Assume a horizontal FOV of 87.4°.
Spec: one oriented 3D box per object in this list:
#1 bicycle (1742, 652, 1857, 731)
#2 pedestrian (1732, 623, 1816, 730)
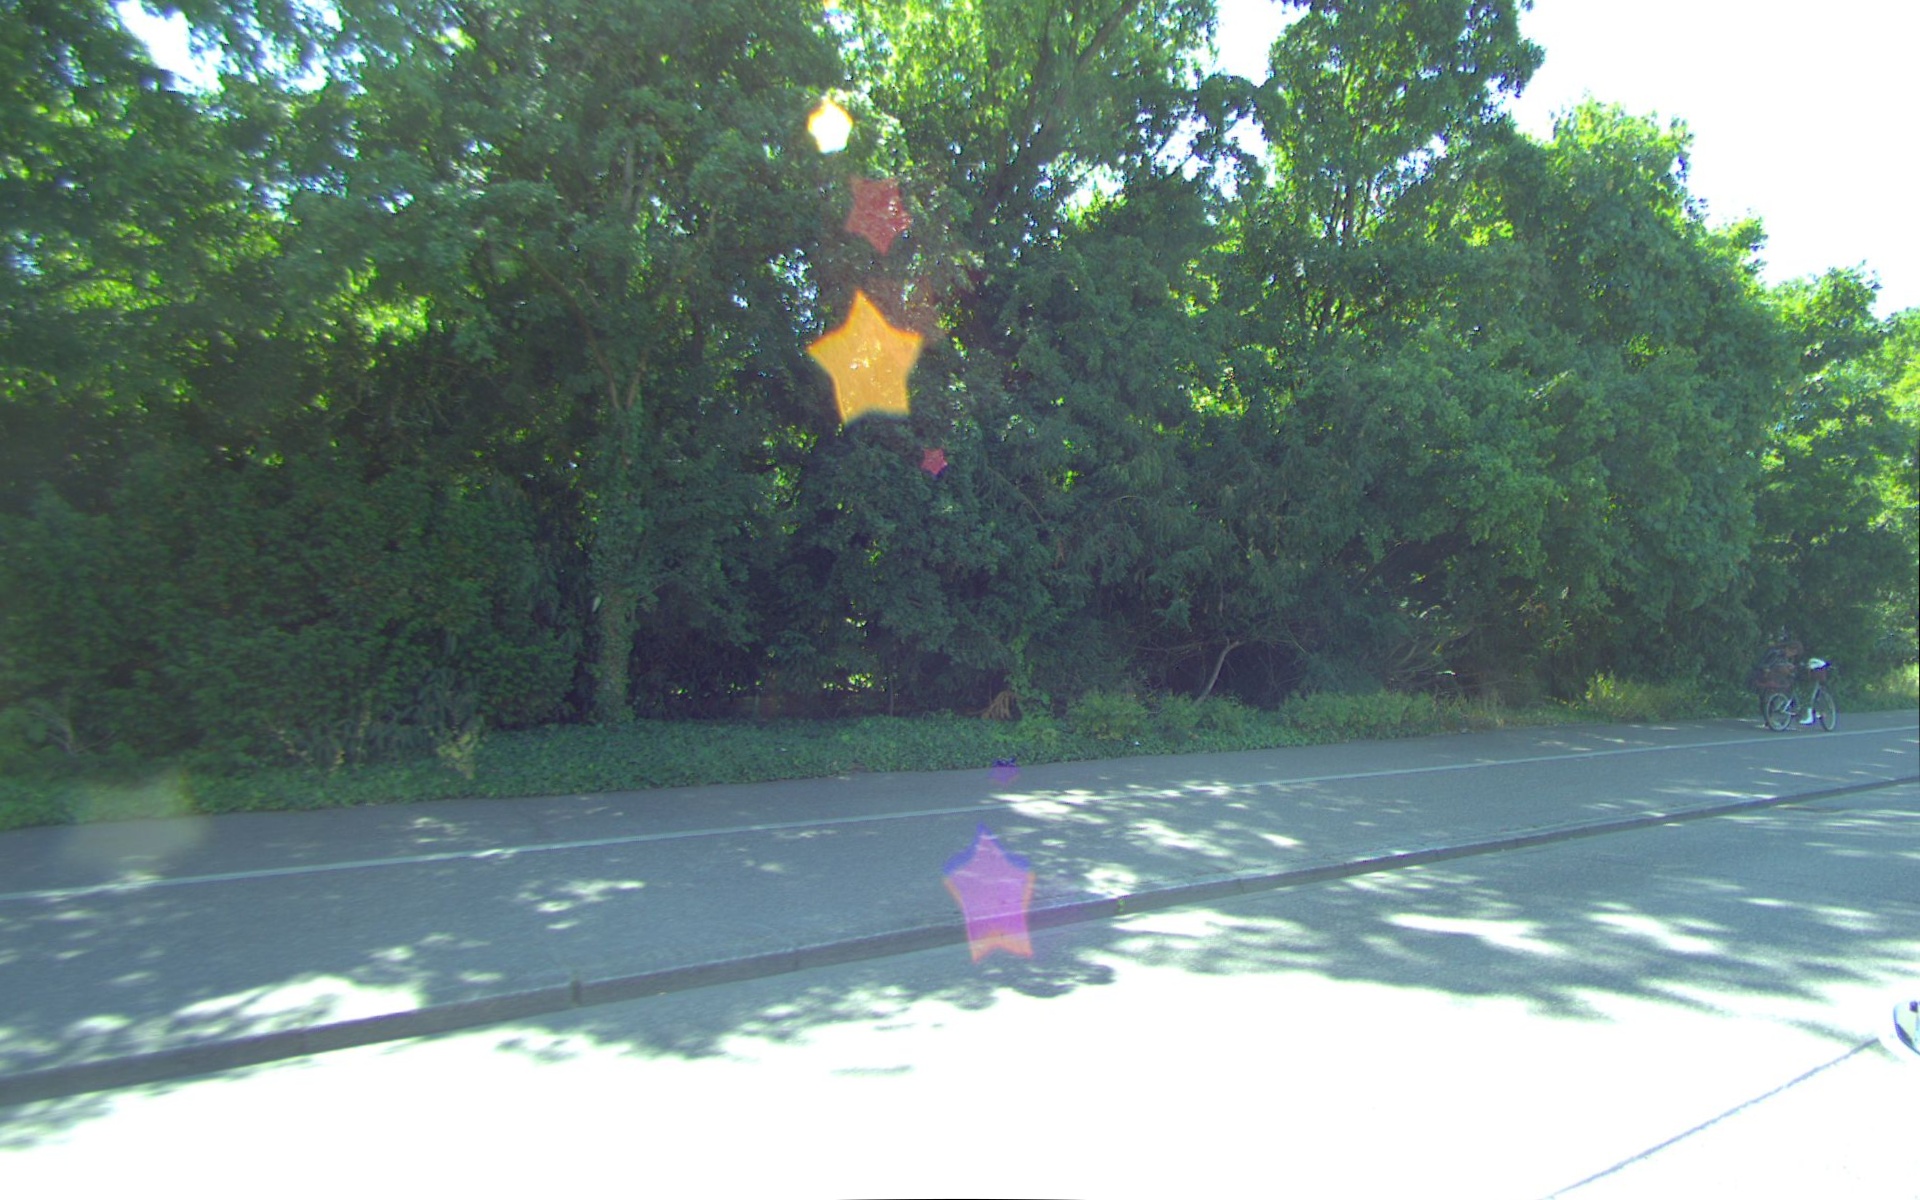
[{"bbox_3d":[13.950,1.511,16.687,1.930,1.253,0.521,2,0,-18],"label":"bicycle"},{"bbox_3d":[13.729,1.272,16.947,0.764,1.741,0.808,1,-1,-14],"label":"pedestrian"}]
